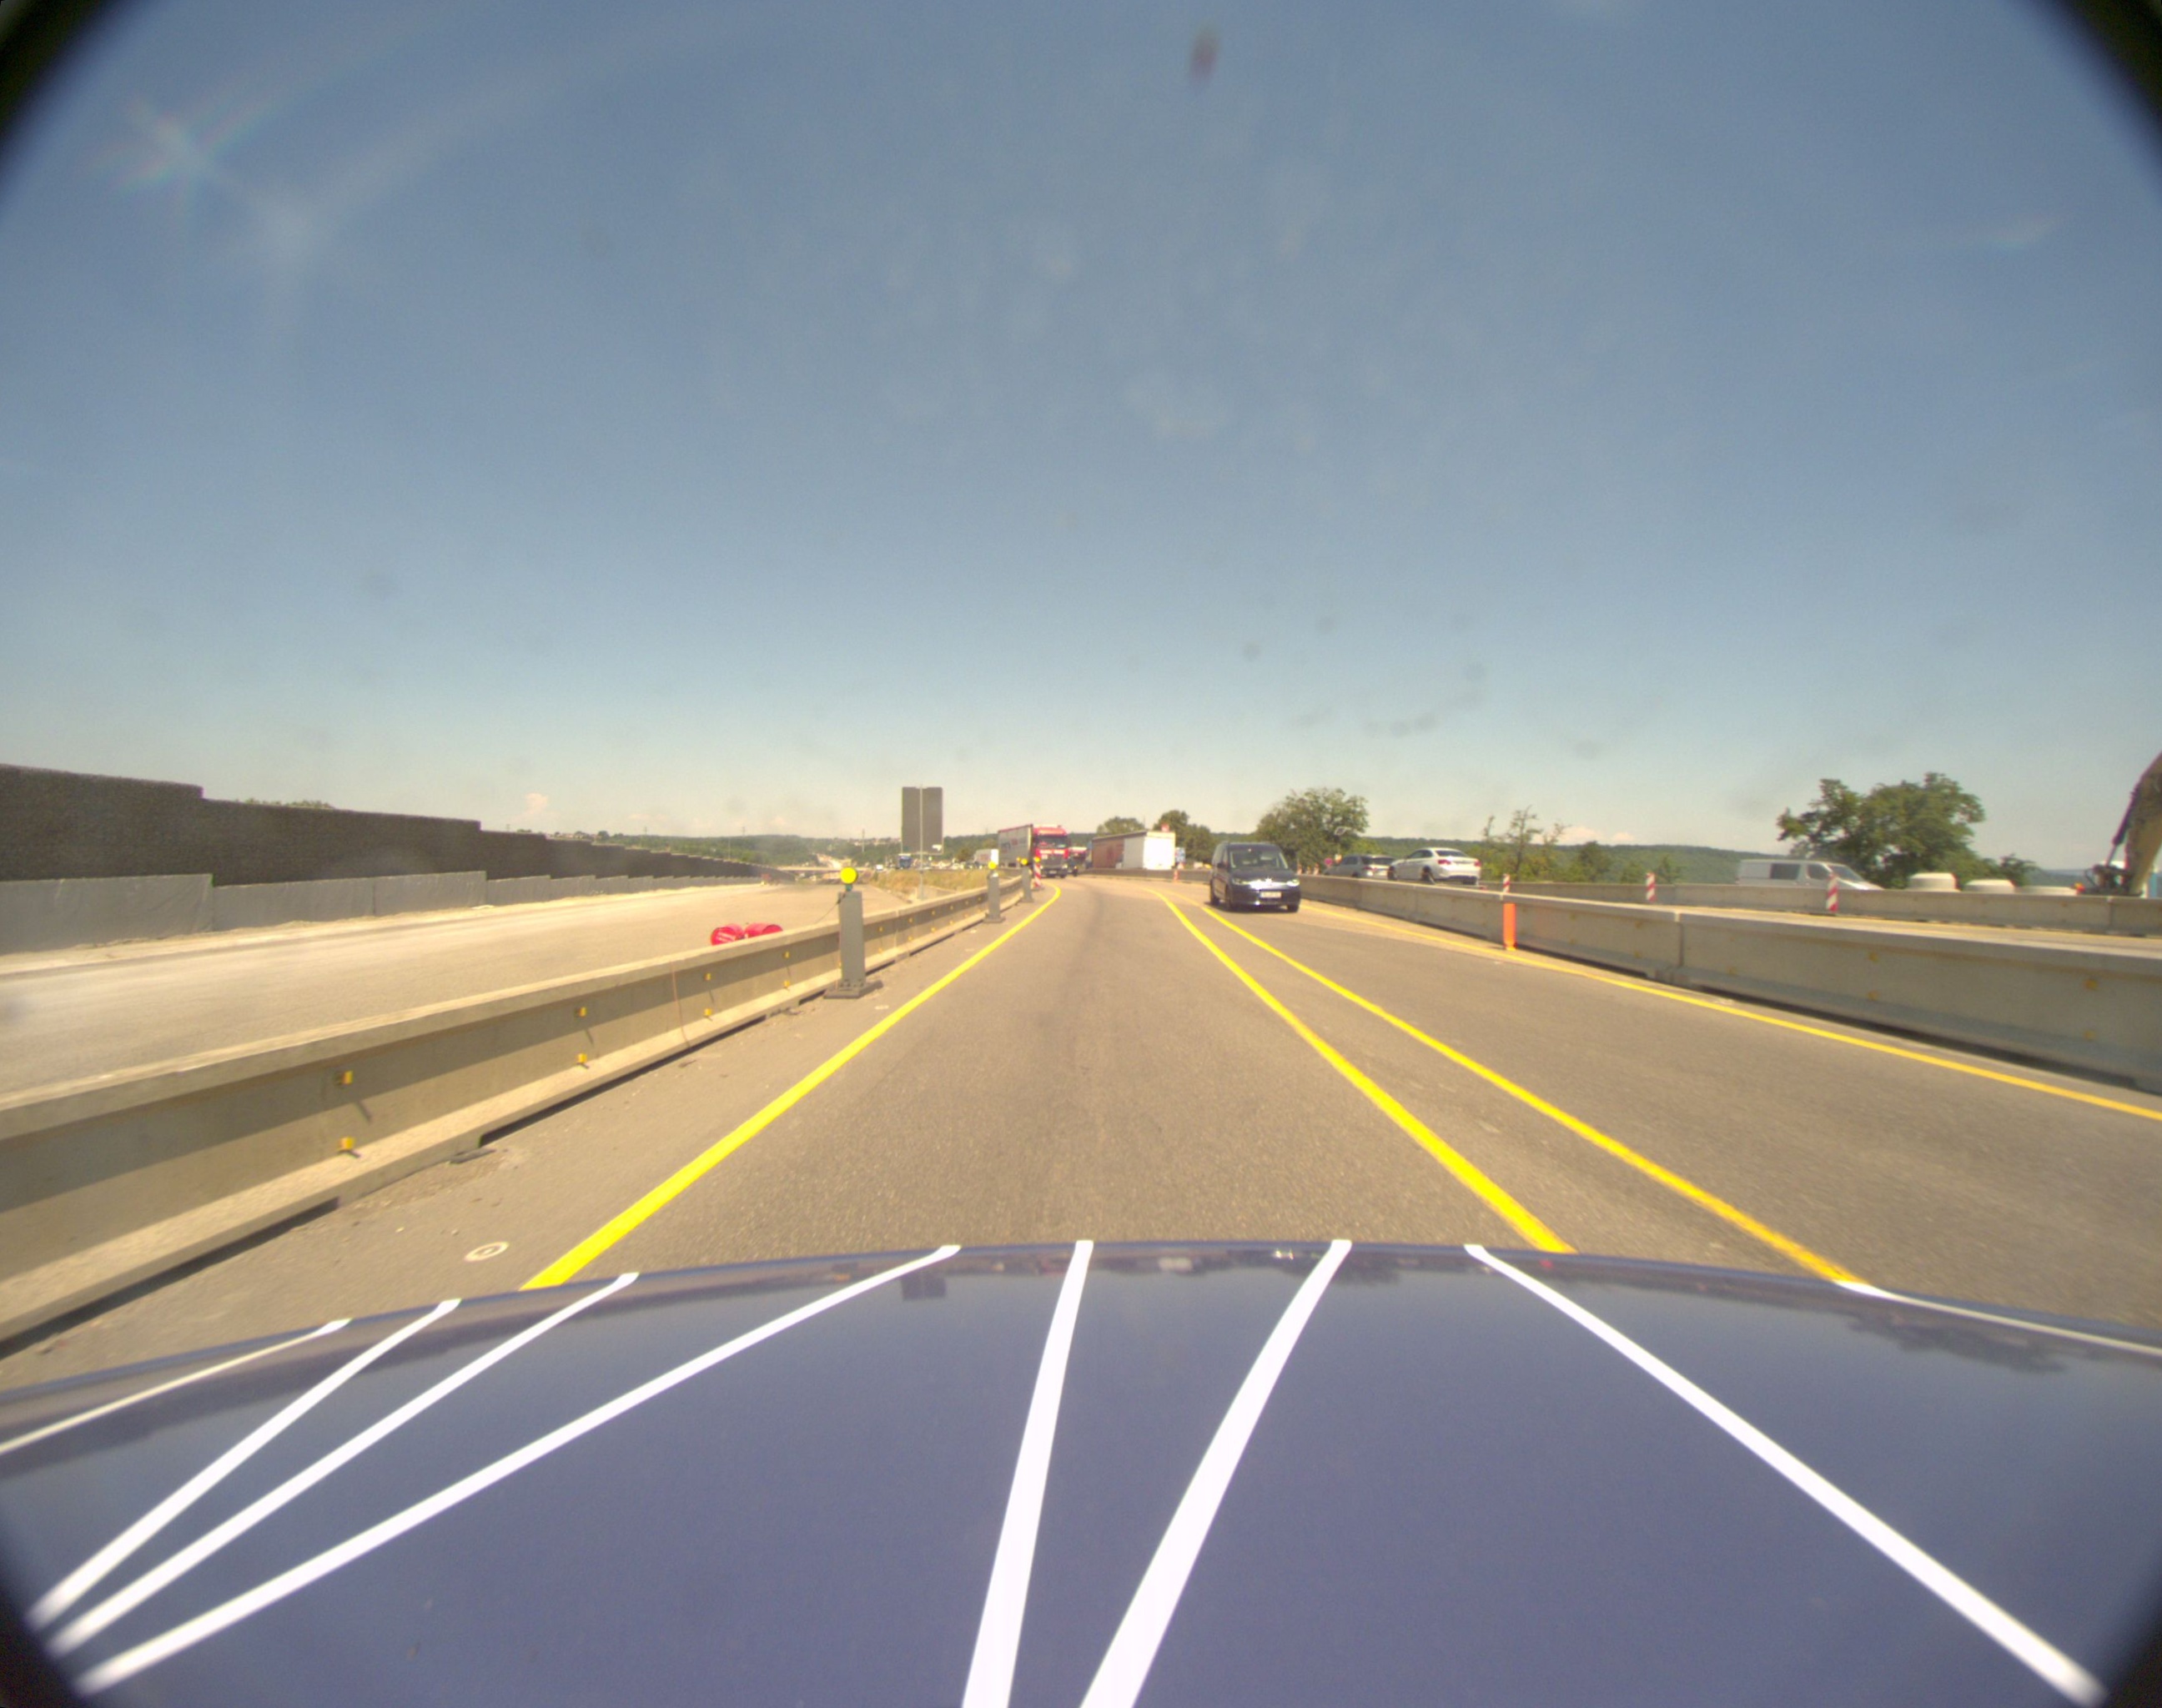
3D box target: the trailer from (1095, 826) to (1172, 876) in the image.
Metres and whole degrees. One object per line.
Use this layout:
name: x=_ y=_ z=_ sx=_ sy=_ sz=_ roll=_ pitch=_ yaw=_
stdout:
trailer: x=4.513 y=-0.186 z=69.453 sx=2.597 sy=4.127 sz=13.045 roll=0 pitch=0 yaw=-17

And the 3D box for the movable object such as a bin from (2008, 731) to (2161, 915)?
movable object such as a bin: x=26.536 y=-0.729 z=16.174 sx=2.929 sy=4.304 sz=9.331 roll=0 pitch=0 yaw=7

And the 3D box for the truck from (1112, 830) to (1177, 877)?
truck: x=4.742 y=-0.019 z=58.378 sx=2.589 sy=3.361 sz=6.917 roll=0 pitch=0 yaw=-17

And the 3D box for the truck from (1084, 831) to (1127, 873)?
truck: x=2.392 y=-0.140 z=76.353 sx=2.555 sy=4.056 sz=5.536 roll=0 pitch=0 yaw=-18

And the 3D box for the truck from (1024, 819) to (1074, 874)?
truck: x=-2.463 y=-0.501 z=56.695 sx=2.630 sy=3.880 sz=4.927 roll=0 pitch=0 yaw=-15

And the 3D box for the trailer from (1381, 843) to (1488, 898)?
trailer: x=13.713 y=0.611 z=29.804 sx=1.871 sy=2.010 sz=4.434 roll=0 pitch=0 yaw=-4

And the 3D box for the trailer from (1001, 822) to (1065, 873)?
trailer: x=-4.178 y=-0.463 z=63.025 sx=2.705 sy=3.852 sz=12.405 roll=0 pitch=0 yaw=-16

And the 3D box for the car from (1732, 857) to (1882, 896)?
car: x=34.169 y=0.995 z=35.979 sx=1.727 sy=1.703 sz=4.877 roll=0 pitch=0 yaw=-18

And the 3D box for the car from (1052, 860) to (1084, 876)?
car: x=-1.163 y=1.202 z=65.971 sx=1.717 sy=1.253 sz=3.994 roll=0 pitch=0 yaw=-16

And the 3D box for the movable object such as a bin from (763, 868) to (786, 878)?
movable object such as a bin: x=-64.170 y=3.940 z=159.187 sx=4.143 sy=2.135 sz=1.757 roll=1 pitch=0 yaw=-45

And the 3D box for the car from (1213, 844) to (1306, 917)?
car: x=4.758 y=0.646 z=20.842 sx=1.925 sy=1.779 sz=4.605 roll=-1 pitch=0 yaw=6

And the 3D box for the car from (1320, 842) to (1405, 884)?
car: x=13.065 y=0.413 z=35.629 sx=1.871 sy=1.796 sz=4.905 roll=0 pitch=0 yaw=-4
